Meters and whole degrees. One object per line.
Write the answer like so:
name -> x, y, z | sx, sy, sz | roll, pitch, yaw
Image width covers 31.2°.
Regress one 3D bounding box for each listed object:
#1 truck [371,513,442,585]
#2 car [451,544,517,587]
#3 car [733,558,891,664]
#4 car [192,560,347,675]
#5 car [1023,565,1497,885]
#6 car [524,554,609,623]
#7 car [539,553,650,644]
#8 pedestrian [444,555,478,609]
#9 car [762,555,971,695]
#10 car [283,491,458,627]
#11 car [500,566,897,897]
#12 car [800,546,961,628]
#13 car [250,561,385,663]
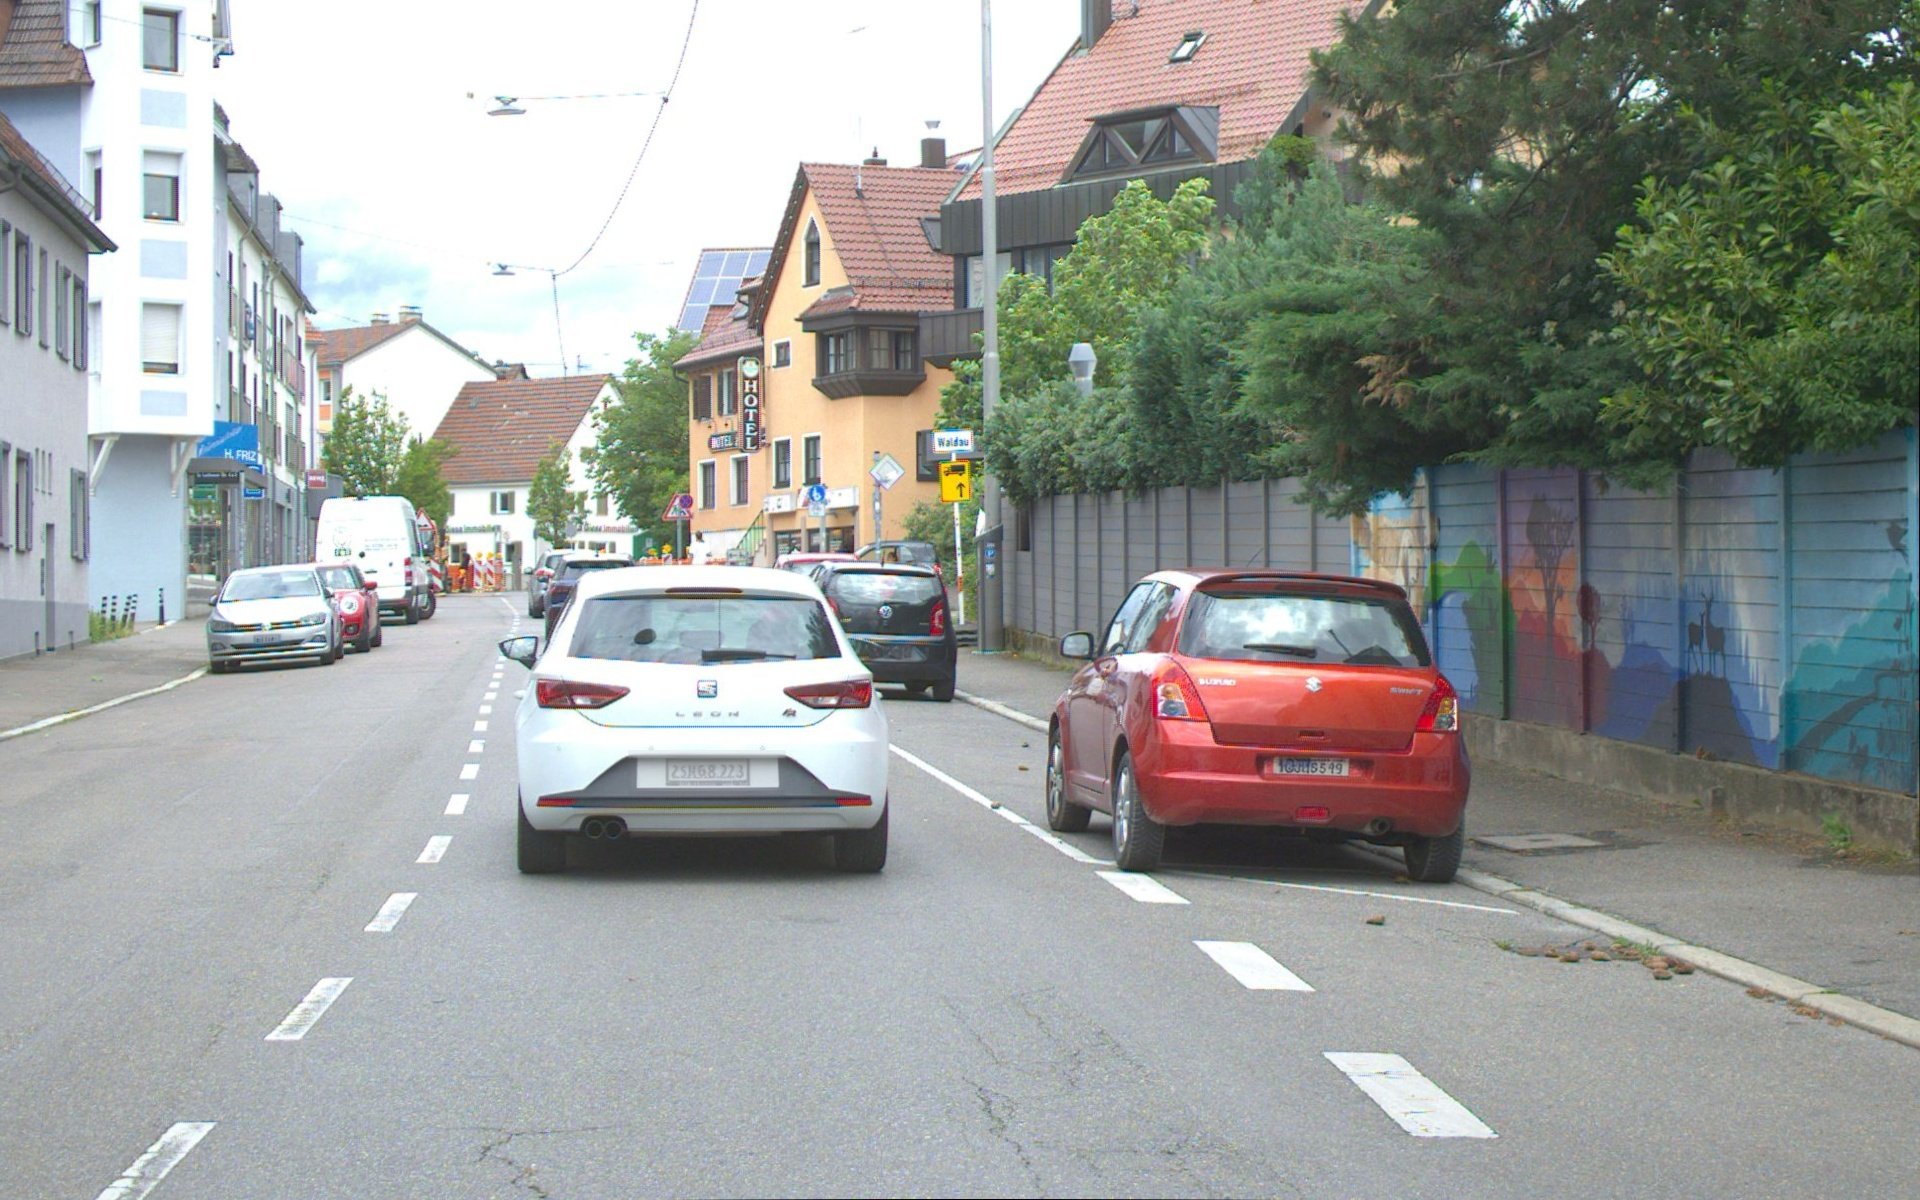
truck -> -19.302, -1.798, 120.055 | 2.152, 2.451, 5.396 | 1, 1, -6
car -> -18.874, -1.382, 136.481 | 1.794, 1.696, 4.000 | 0, 1, 4
car -> -2.149, 0.125, 48.937 | 1.758, 1.447, 4.001 | 0, 1, -9
car -> -9.849, 0.213, 49.279 | 1.799, 1.474, 4.052 | -3, 1, -7
car -> 1.453, 0.571, 18.169 | 1.758, 1.447, 4.001 | 2, 1, -5
car -> -8.490, -0.270, 74.000 | 1.758, 1.447, 4.001 | 0, 1, -7
car -> -6.103, -0.052, 57.276 | 1.758, 1.447, 4.001 | 0, 1, -6
pedestrian -> -18.923, -0.680, 130.411 | 1.228, 2.007, 1.176 | 0, 1, -6
car -> -1.082, 0.231, 37.734 | 1.758, 1.447, 4.001 | 0, 1, -9
car -> -12.182, -0.875, 71.443 | 2.153, 2.677, 5.544 | 1, 1, 6
car -> -1.378, 0.562, 17.275 | 1.758, 1.447, 4.001 | 0, 1, -6
car -> -1.584, -0.262, 68.156 | 2.807, 1.507, 1.709 | 1, 2, -17
car -> -10.215, 0.159, 54.899 | 1.799, 1.474, 4.052 | -3, 1, -7
